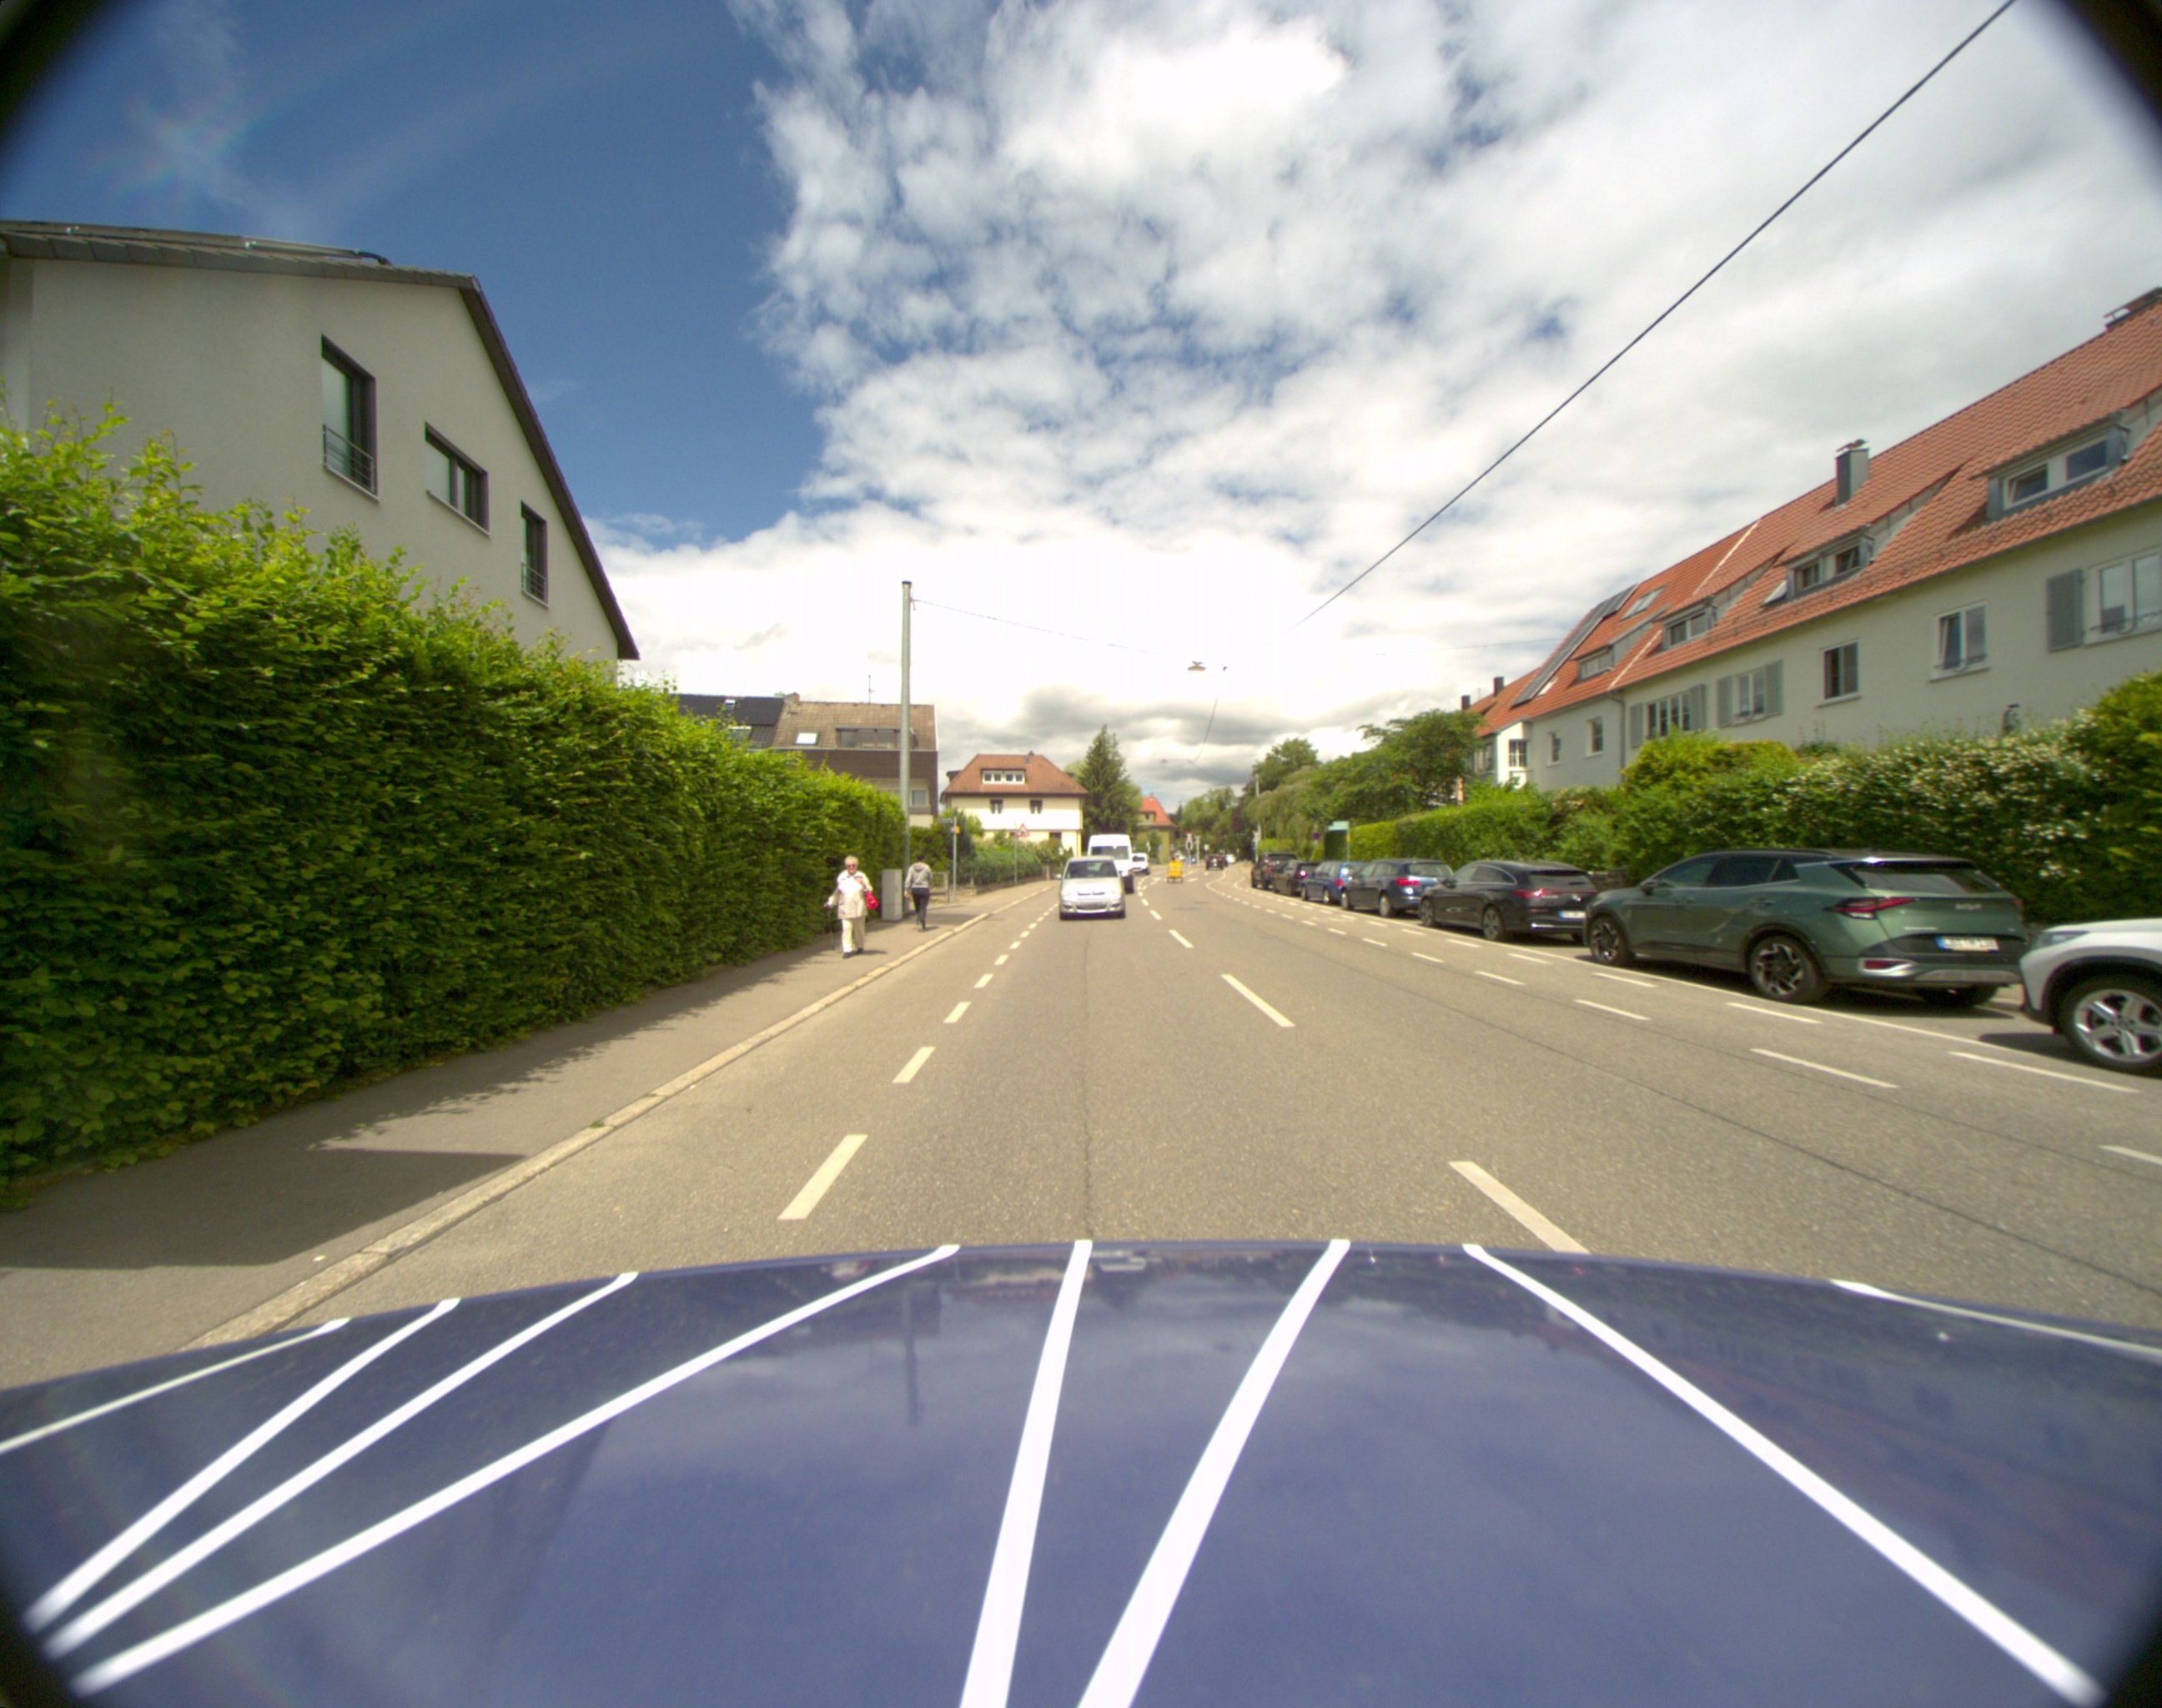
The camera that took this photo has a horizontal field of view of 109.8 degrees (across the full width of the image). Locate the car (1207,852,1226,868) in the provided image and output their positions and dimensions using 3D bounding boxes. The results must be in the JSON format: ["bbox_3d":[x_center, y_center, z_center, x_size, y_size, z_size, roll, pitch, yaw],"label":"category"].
[{"bbox_3d":[14.841,0.622,83.303,1.919,1.639,4.297,3,1,11],"label":"car"}]

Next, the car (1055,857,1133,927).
[{"bbox_3d":[0.449,0.895,19.777,1.707,1.531,4.332,-2,0,5],"label":"car"}]

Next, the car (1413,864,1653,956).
[{"bbox_3d":[8.335,0.943,14.641,1.998,1.400,4.690,-1,0,3],"label":"car"}]

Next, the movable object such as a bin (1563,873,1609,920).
[{"bbox_3d":[11.440,0.962,17.222,0.578,0.996,0.635,-3,1,-2],"label":"movable object such as a bin"}]

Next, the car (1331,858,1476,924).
[{"bbox_3d":[8.303,0.887,20.083,1.782,1.483,4.565,-1,0,-2],"label":"car"}]

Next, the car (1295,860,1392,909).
[{"bbox_3d":[8.626,0.953,25.398,1.782,1.409,4.440,-1,0,1],"label":"car"}]

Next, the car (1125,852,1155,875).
[{"bbox_3d":[4.862,0.761,62.349,1.931,1.771,4.003,-2,0,11],"label":"car"}]

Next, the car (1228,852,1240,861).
[{"bbox_3d":[25.577,0.411,127.353,1.850,1.565,4.162,-1,0,11],"label":"car"}]

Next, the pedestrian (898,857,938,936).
[{"bbox_3d":[-3.424,0.873,16.006,0.604,1.596,0.836,1,1,2],"label":"pedestrian"}]

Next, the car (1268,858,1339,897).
[{"bbox_3d":[8.863,0.903,30.627,1.782,1.409,4.340,-1,0,3],"label":"car"}]

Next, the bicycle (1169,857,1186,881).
[{"bbox_3d":[5.579,0.853,44.047,0.865,1.294,2.662,-1,0,4],"label":"bicycle"}]

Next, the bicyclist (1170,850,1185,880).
[{"bbox_3d":[5.574,0.630,43.954,0.794,1.703,1.209,-1,0,5],"label":"bicyclist"}]

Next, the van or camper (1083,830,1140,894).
[{"bbox_3d":[1.497,0.370,34.212,2.029,2.564,5.926,-2,-1,7],"label":"van or camper"}]

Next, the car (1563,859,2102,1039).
[{"bbox_3d":[8.210,0.873,9.159,1.998,1.555,4.690,-1,0,3],"label":"car"}]

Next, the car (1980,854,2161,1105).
[{"bbox_3d":[8.127,0.832,3.779,1.998,1.641,4.517,-1,0,1],"label":"car"}]

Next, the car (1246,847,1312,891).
[{"bbox_3d":[9.293,0.665,36.136,1.998,1.884,5.404,1,0,3],"label":"car"}]

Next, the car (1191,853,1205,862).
[{"bbox_3d":[20.596,0.526,133.856,1.996,1.419,4.003,-2,0,13],"label":"car"}]

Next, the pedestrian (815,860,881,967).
[{"bbox_3d":[-3.630,0.910,11.889,0.801,1.608,0.653,1,1,2],"label":"pedestrian"}]
